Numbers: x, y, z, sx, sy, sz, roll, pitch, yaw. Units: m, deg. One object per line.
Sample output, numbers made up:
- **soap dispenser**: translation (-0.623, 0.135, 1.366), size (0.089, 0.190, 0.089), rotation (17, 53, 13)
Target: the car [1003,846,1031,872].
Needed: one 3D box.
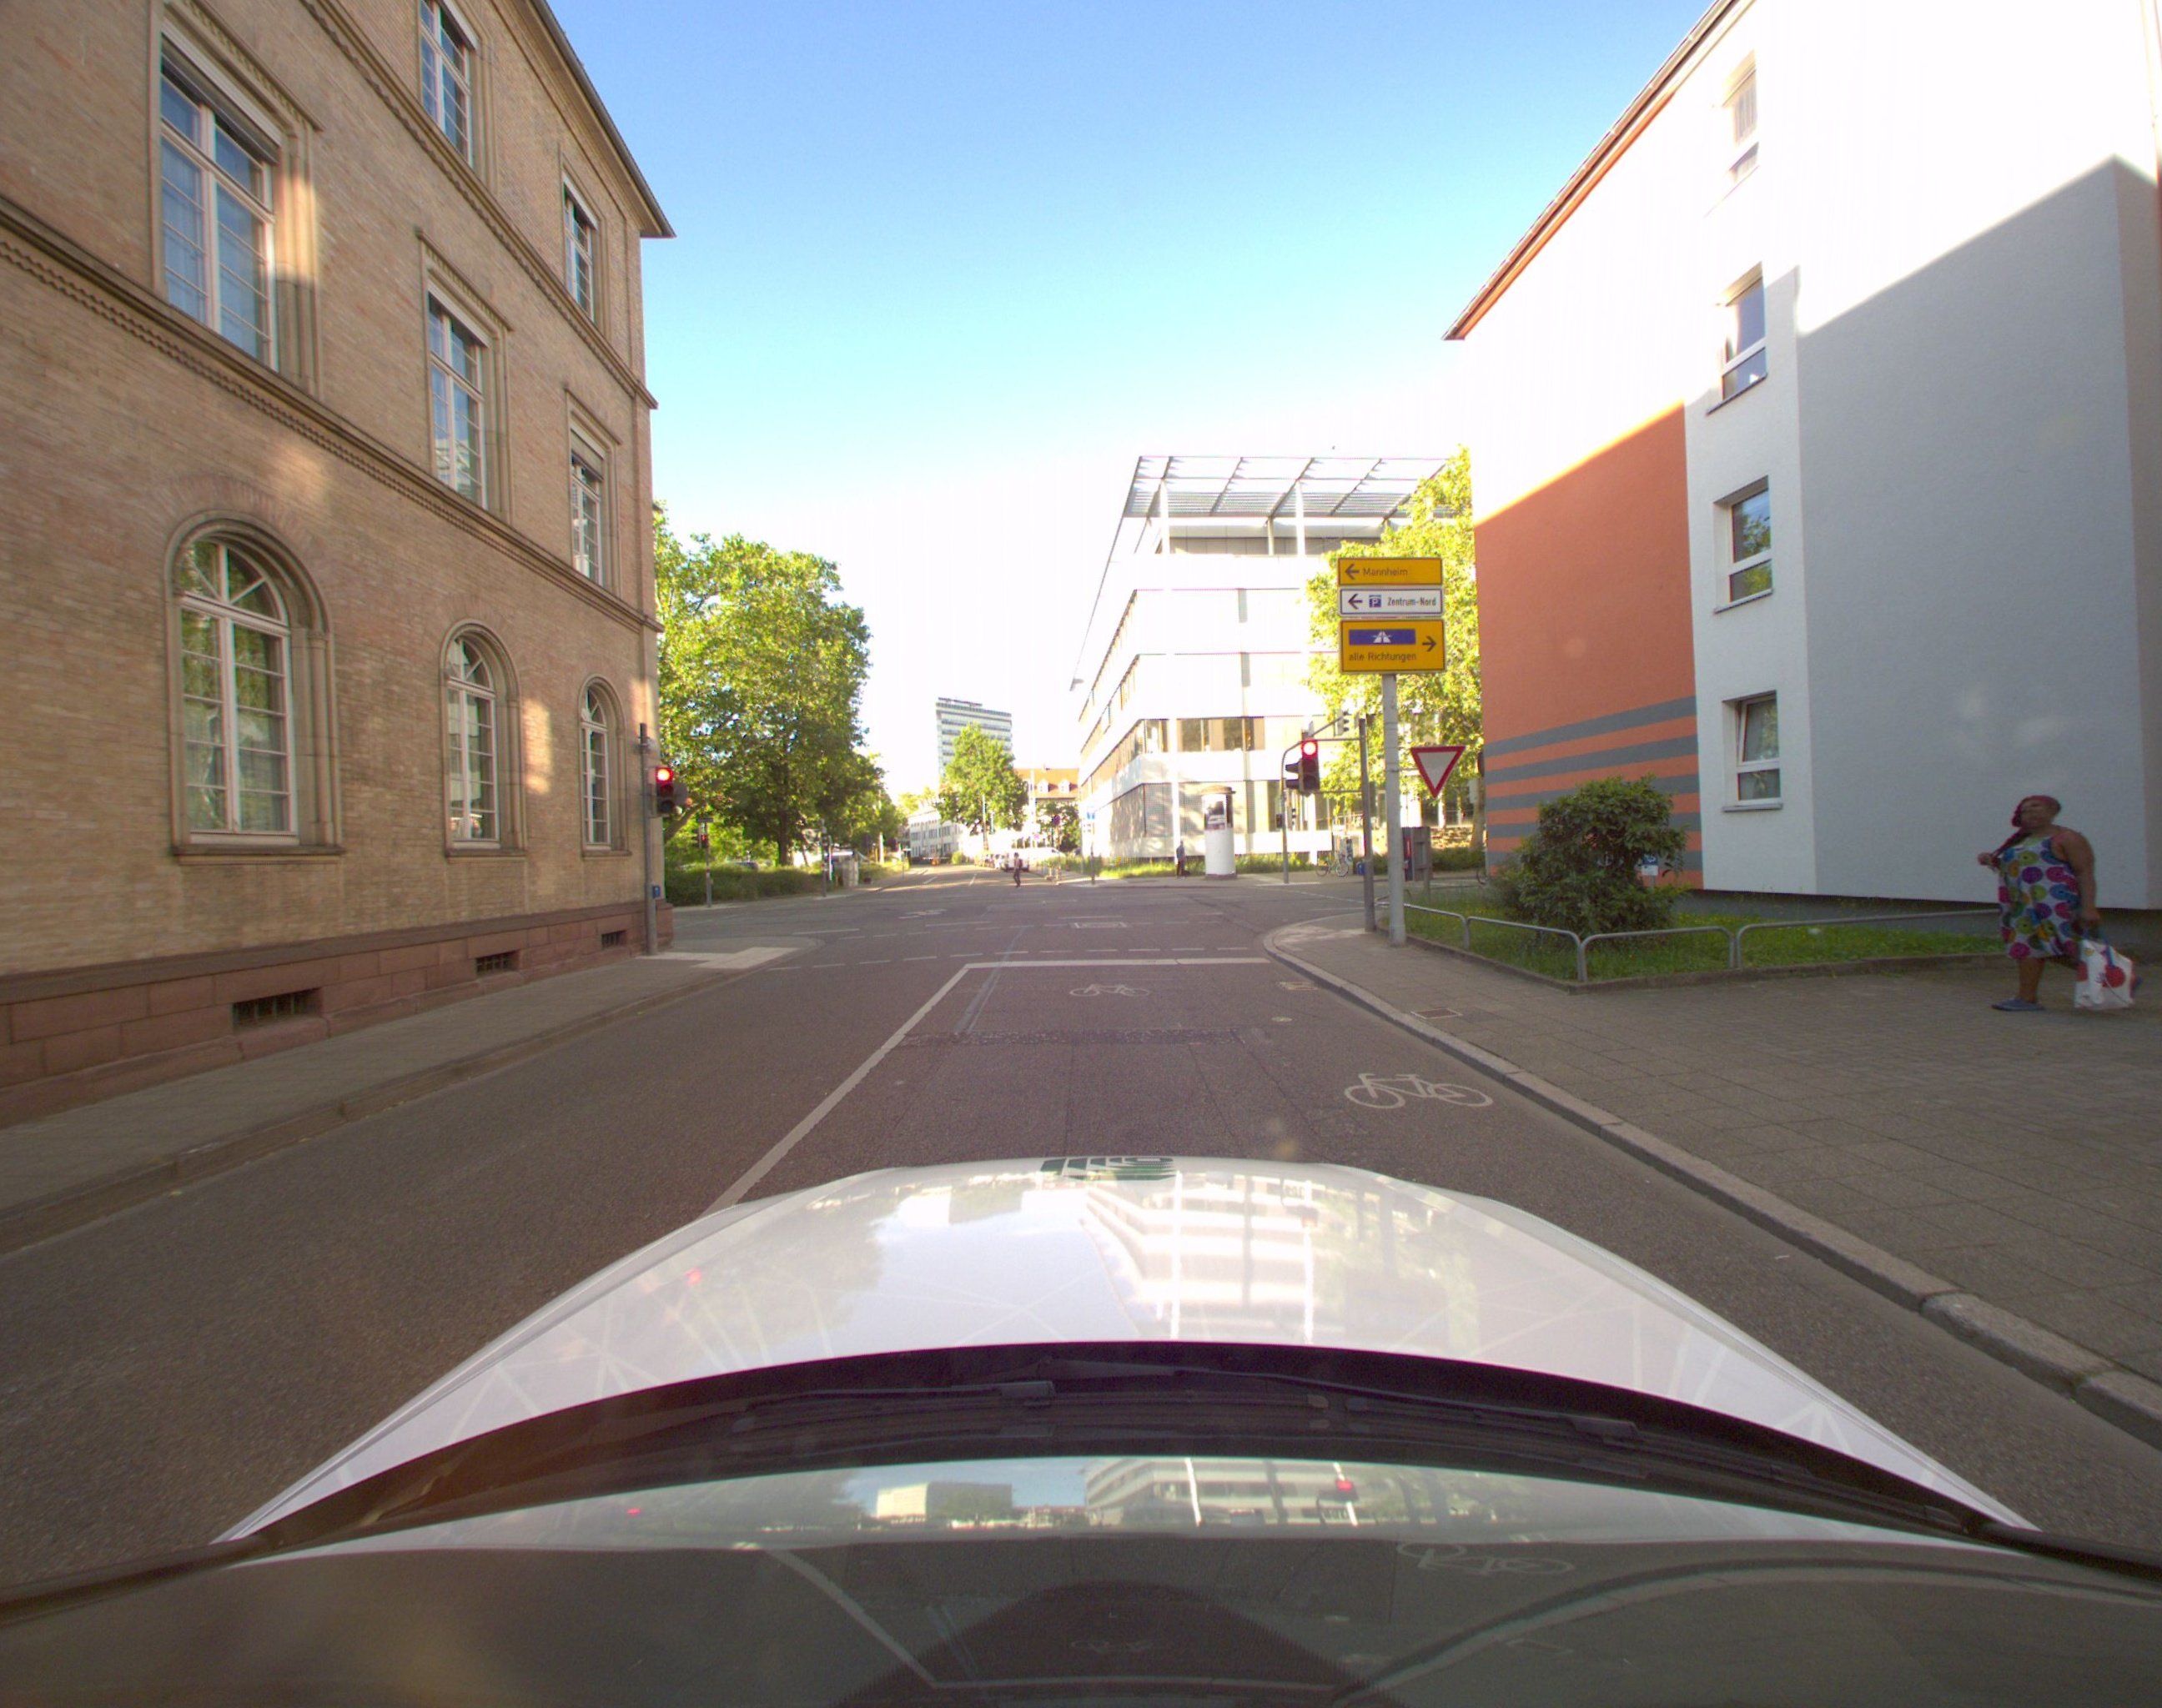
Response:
- **car**: translation (-5.137, 0.378, 64.936), size (2.065, 1.963, 4.228), rotation (-2, 0, -7)

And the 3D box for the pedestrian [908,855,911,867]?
- **pedestrian**: translation (-23.564, 0.964, 111.928), size (0.380, 1.534, 0.444), rotation (-2, 0, -10)

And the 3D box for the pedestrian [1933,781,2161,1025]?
- **pedestrian**: translation (6.918, 0.309, 5.780), size (0.743, 1.573, 0.960), rotation (-3, 1, 9)

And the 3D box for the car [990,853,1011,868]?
- **car**: translation (-8.090, 0.607, 81.614), size (1.705, 1.424, 4.221), rotation (-2, 0, -11)

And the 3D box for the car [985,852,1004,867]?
- **car**: translation (-9.205, 0.565, 86.244), size (1.704, 1.464, 4.225), rotation (-2, 0, -9)

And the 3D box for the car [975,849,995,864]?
- **car**: translation (-11.324, 0.271, 96.126), size (2.100, 1.658, 4.461), rotation (-2, 0, -9)

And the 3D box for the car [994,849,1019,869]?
- **car**: translation (-7.057, 0.472, 76.644), size (1.947, 1.795, 4.223), rotation (-2, 0, -11)

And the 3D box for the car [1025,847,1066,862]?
- **car**: translation (-4.527, 0.074, 103.168), size (4.889, 1.872, 1.990), rotation (-1, -1, -15)

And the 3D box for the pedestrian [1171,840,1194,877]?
- **pedestrian**: translation (4.843, 0.233, 38.916), size (0.658, 1.736, 0.802), rotation (-2, 0, -43)

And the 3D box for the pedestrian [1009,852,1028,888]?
- **pedestrian**: translation (-2.849, 0.740, 37.156), size (0.709, 1.599, 0.617), rotation (-2, 0, 1)

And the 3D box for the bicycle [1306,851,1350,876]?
- **bicycle**: translation (10.895, 0.438, 35.997), size (0.467, 1.049, 1.893), rotation (-2, 0, -40)

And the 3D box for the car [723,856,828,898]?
- **car**: translation (-14.407, 1.056, 38.639), size (4.219, 1.777, 1.901), rotation (-2, 0, -7)
